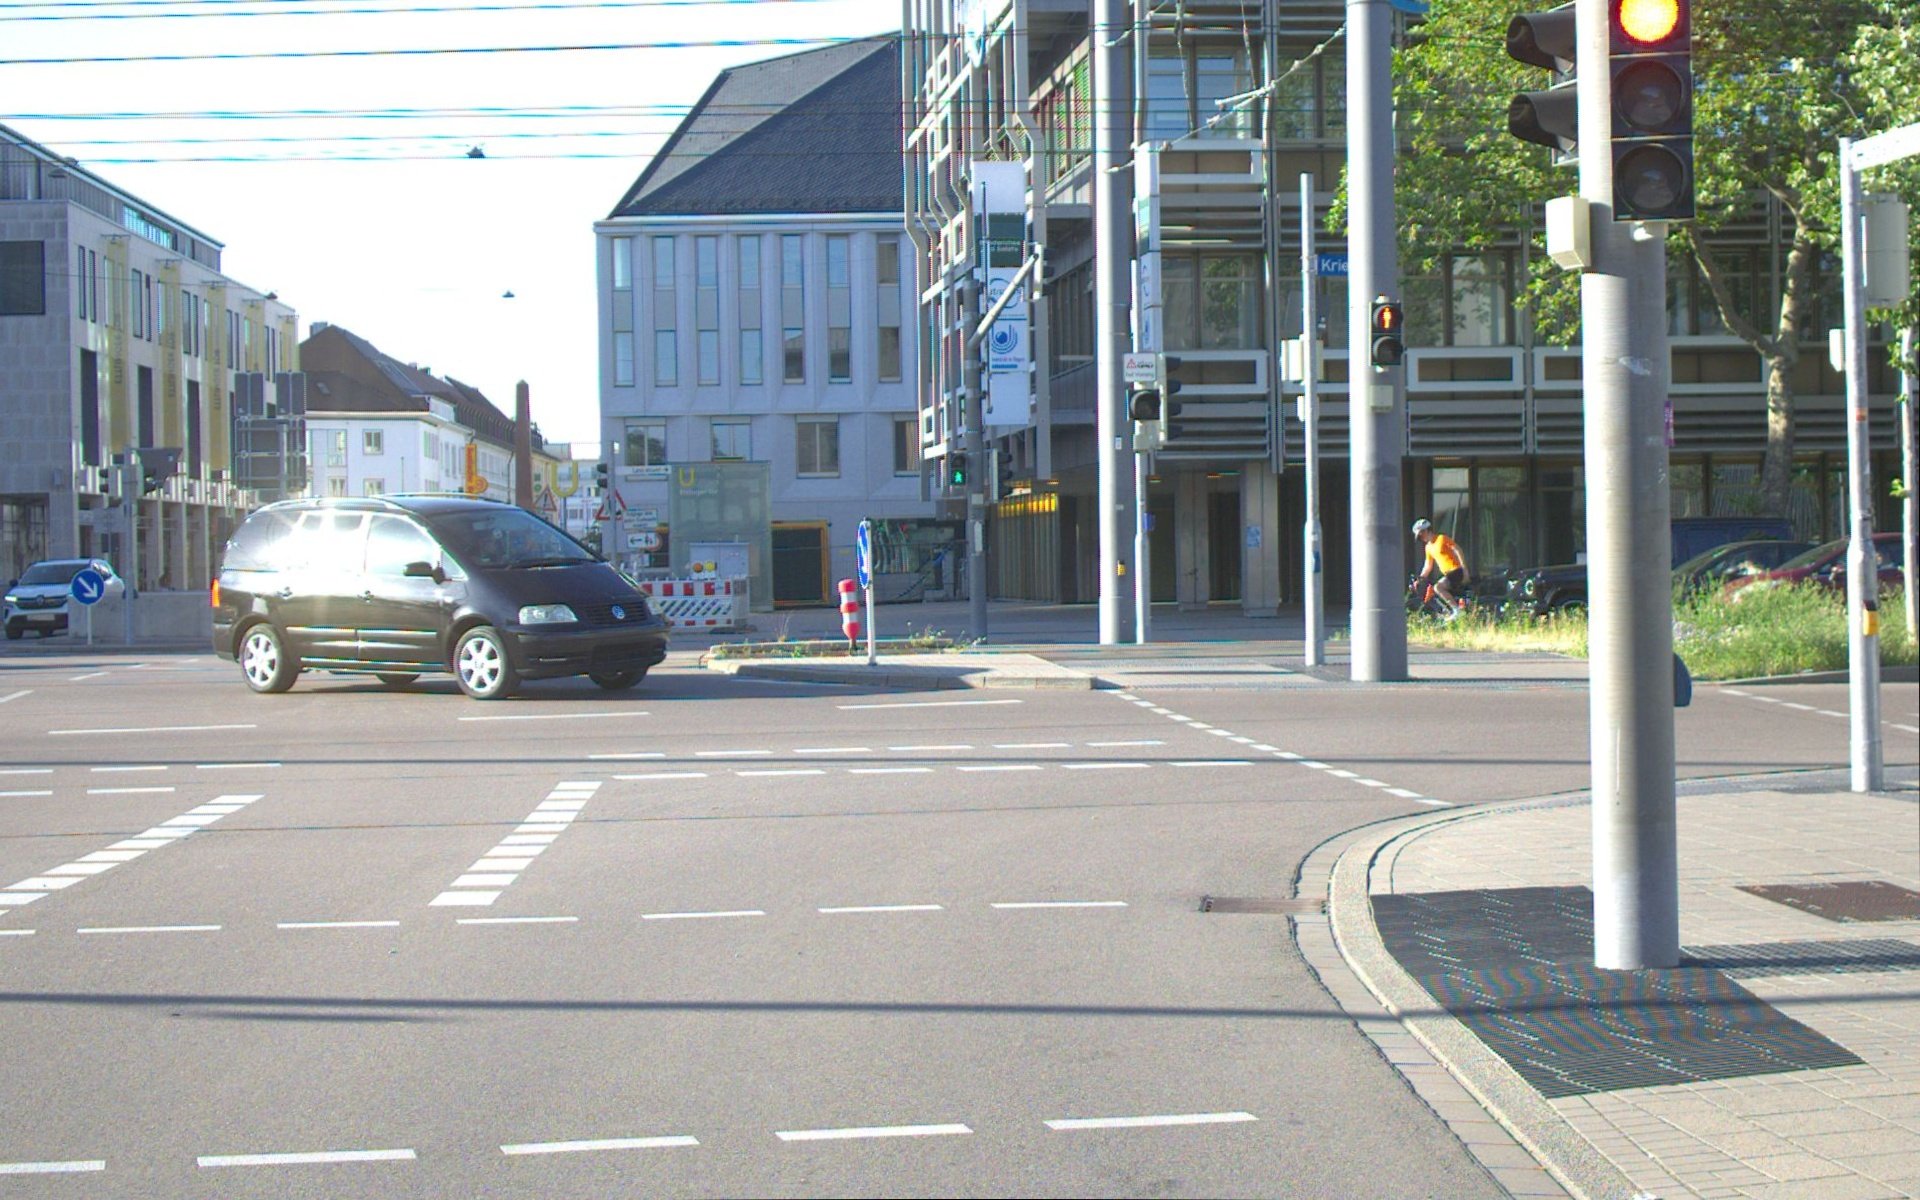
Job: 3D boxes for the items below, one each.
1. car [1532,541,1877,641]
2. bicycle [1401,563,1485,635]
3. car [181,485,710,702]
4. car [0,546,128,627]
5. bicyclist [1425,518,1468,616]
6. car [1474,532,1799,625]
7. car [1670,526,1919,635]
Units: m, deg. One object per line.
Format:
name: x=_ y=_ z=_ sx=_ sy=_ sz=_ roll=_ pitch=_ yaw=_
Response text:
car: x=11.011 y=-0.153 z=51.034 sx=4.630 sy=1.351 sz=2.001 roll=-1 pitch=2 yaw=-5
bicycle: x=6.637 y=-0.016 z=47.251 sx=1.076 sy=0.967 sz=0.458 roll=-1 pitch=1 yaw=1
car: x=-4.562 y=-0.127 z=30.133 sx=4.641 sy=1.736 sz=1.996 roll=2 pitch=3 yaw=40
car: x=-18.960 y=-0.311 z=72.630 sx=1.993 sy=1.617 sz=4.238 roll=-1 pitch=1 yaw=-4
bicyclist: x=6.685 y=-0.452 z=47.248 sx=0.508 sy=1.333 sz=0.452 roll=-1 pitch=1 yaw=1
car: x=10.582 y=-0.353 z=53.988 sx=4.630 sy=1.351 sz=2.001 roll=-1 pitch=2 yaw=-5
car: x=12.133 y=-0.291 z=46.373 sx=4.630 sy=1.351 sz=2.001 roll=-1 pitch=2 yaw=-5
